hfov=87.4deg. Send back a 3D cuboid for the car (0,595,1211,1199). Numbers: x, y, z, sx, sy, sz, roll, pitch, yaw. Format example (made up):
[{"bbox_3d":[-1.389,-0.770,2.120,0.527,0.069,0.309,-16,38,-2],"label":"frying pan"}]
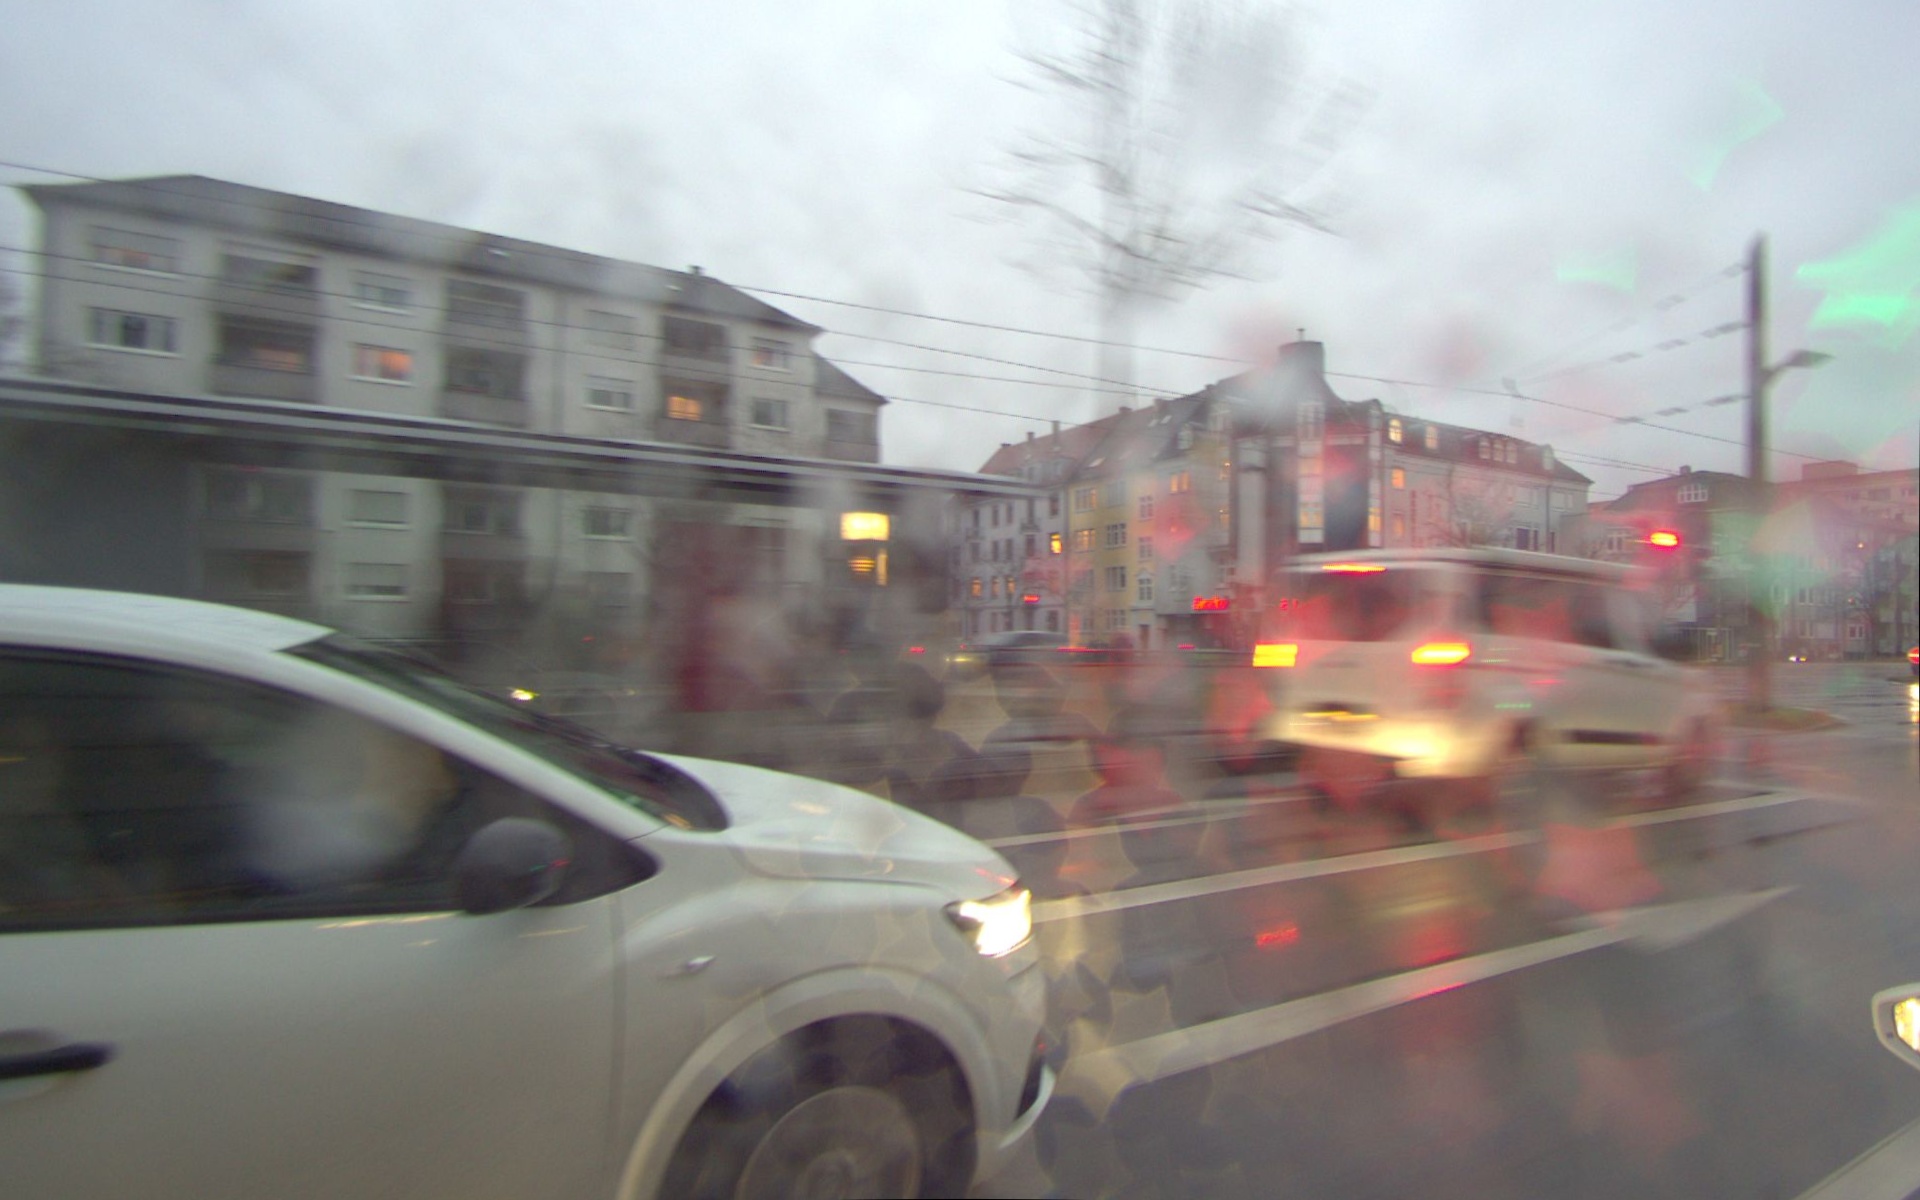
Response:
[{"bbox_3d":[-1.528,0.761,2.255,3.952,1.485,1.701,3,-1,-29],"label":"car"}]

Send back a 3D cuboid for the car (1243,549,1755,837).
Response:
[{"bbox_3d":[5.074,0.752,9.272,4.825,2.060,1.943,2,-1,-30],"label":"car"}]

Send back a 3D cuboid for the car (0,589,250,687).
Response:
[{"bbox_3d":[-14.590,0.649,17.170,3.711,1.517,1.752,3,-1,-27],"label":"car"}]

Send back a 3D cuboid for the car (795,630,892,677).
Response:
[{"bbox_3d":[-4.024,1.798,34.188,1.681,1.384,3.774,3,-2,-34],"label":"car"}]

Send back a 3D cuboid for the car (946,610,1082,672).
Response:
[{"bbox_3d":[1.628,1.232,30.057,3.688,1.710,1.702,3,-1,-30],"label":"car"}]

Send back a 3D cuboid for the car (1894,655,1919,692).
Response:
[{"bbox_3d":[46.212,3.526,47.686,3.956,1.627,1.795,3,-2,-32],"label":"car"}]
